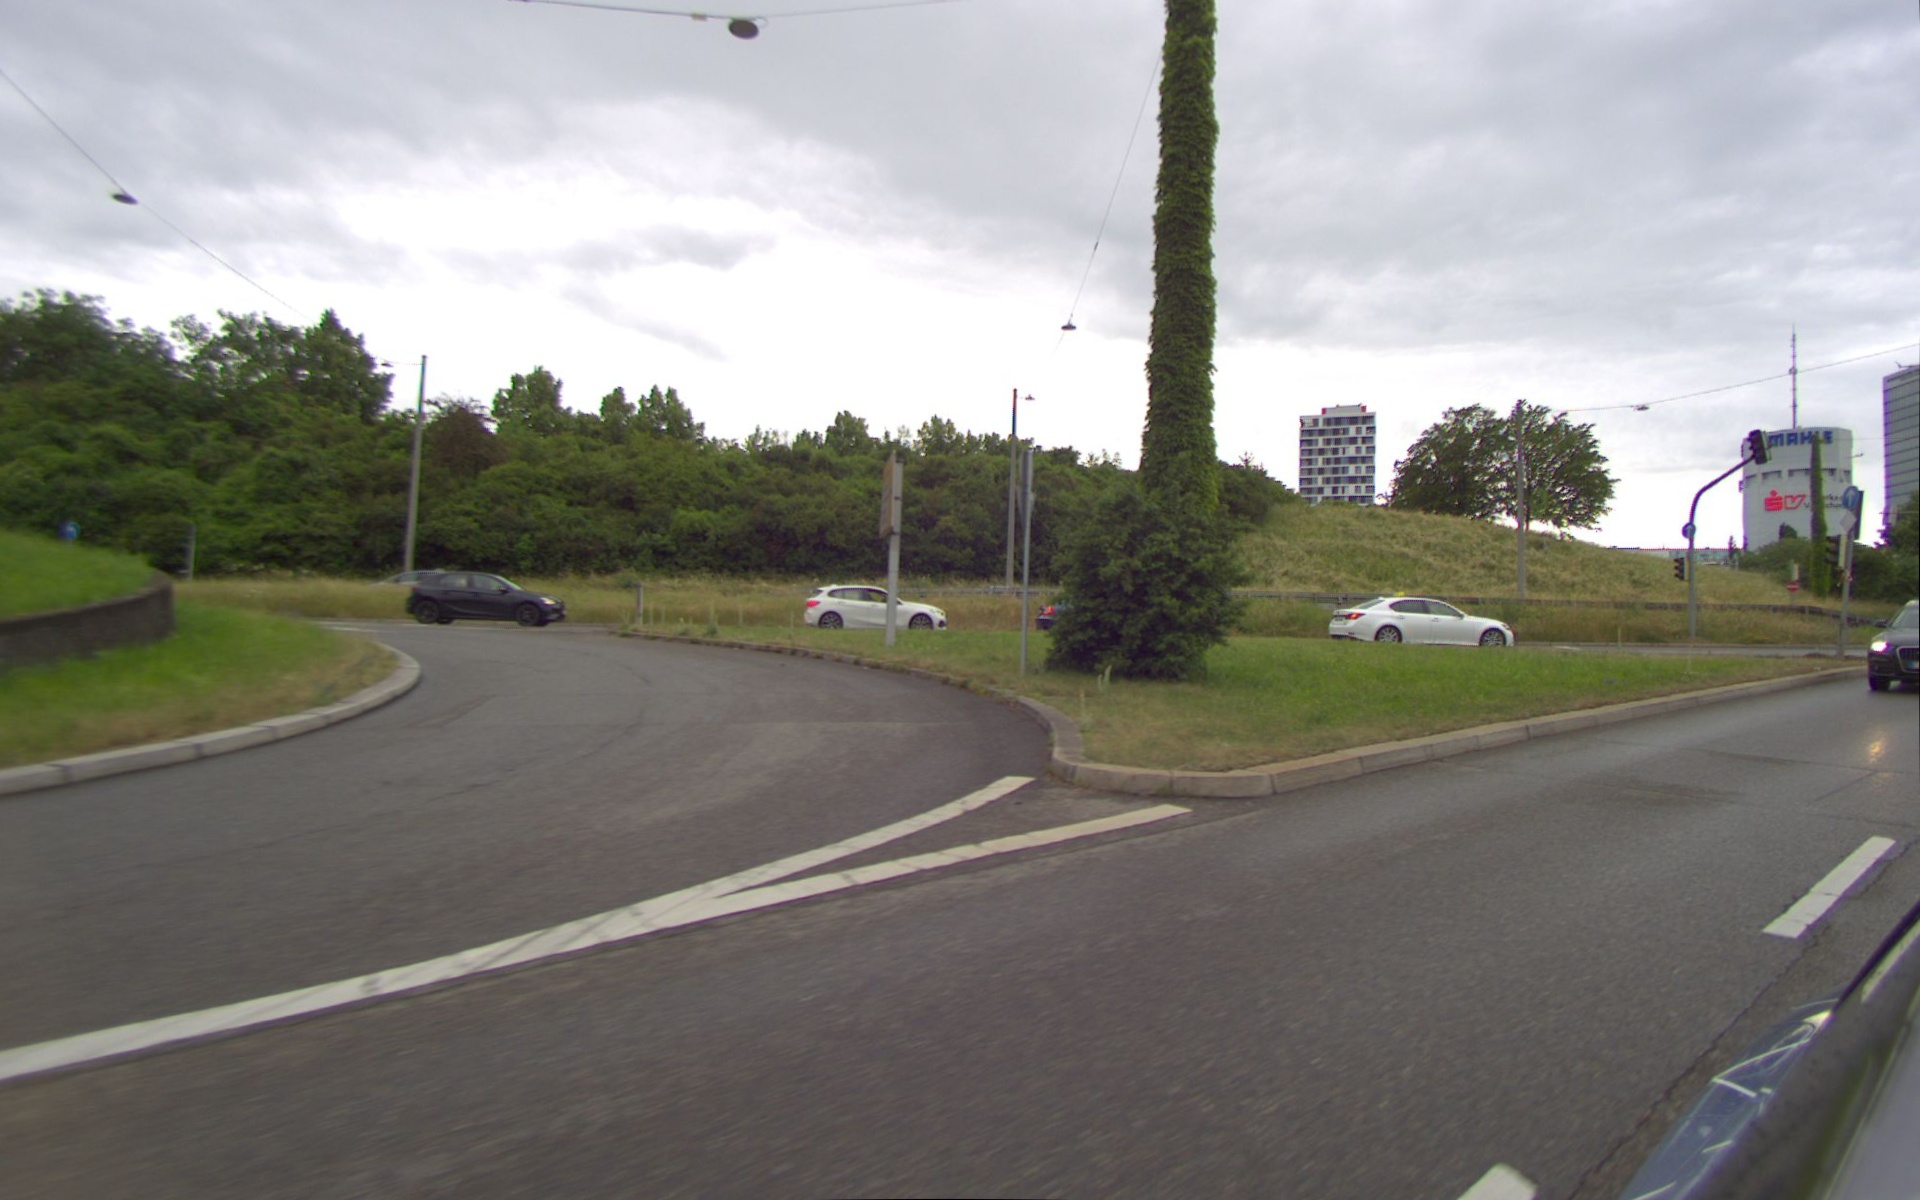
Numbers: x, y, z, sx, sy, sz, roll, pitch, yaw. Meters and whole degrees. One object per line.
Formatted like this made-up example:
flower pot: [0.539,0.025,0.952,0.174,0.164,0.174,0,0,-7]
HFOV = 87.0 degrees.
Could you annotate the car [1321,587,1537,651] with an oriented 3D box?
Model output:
car: [12.720,0.513,27.682,4.895,1.666,2.075,0,-1,0]

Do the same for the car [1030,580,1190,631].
car: [4.508,0.183,30.770,4.462,1.368,1.845,2,-1,-5]

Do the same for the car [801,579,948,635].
car: [-2.572,0.216,30.036,4.184,1.447,2.078,2,-1,-7]

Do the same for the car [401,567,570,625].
car: [-12.778,-0.087,27.458,3.836,1.432,1.678,1,-1,-12]

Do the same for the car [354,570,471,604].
car: [-23.870,-0.554,44.221,4.142,1.367,1.785,-1,-2,-5]

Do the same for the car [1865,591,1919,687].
car: [18.070,0.665,18.123,4.198,1.621,1.928,1,-1,-36]
